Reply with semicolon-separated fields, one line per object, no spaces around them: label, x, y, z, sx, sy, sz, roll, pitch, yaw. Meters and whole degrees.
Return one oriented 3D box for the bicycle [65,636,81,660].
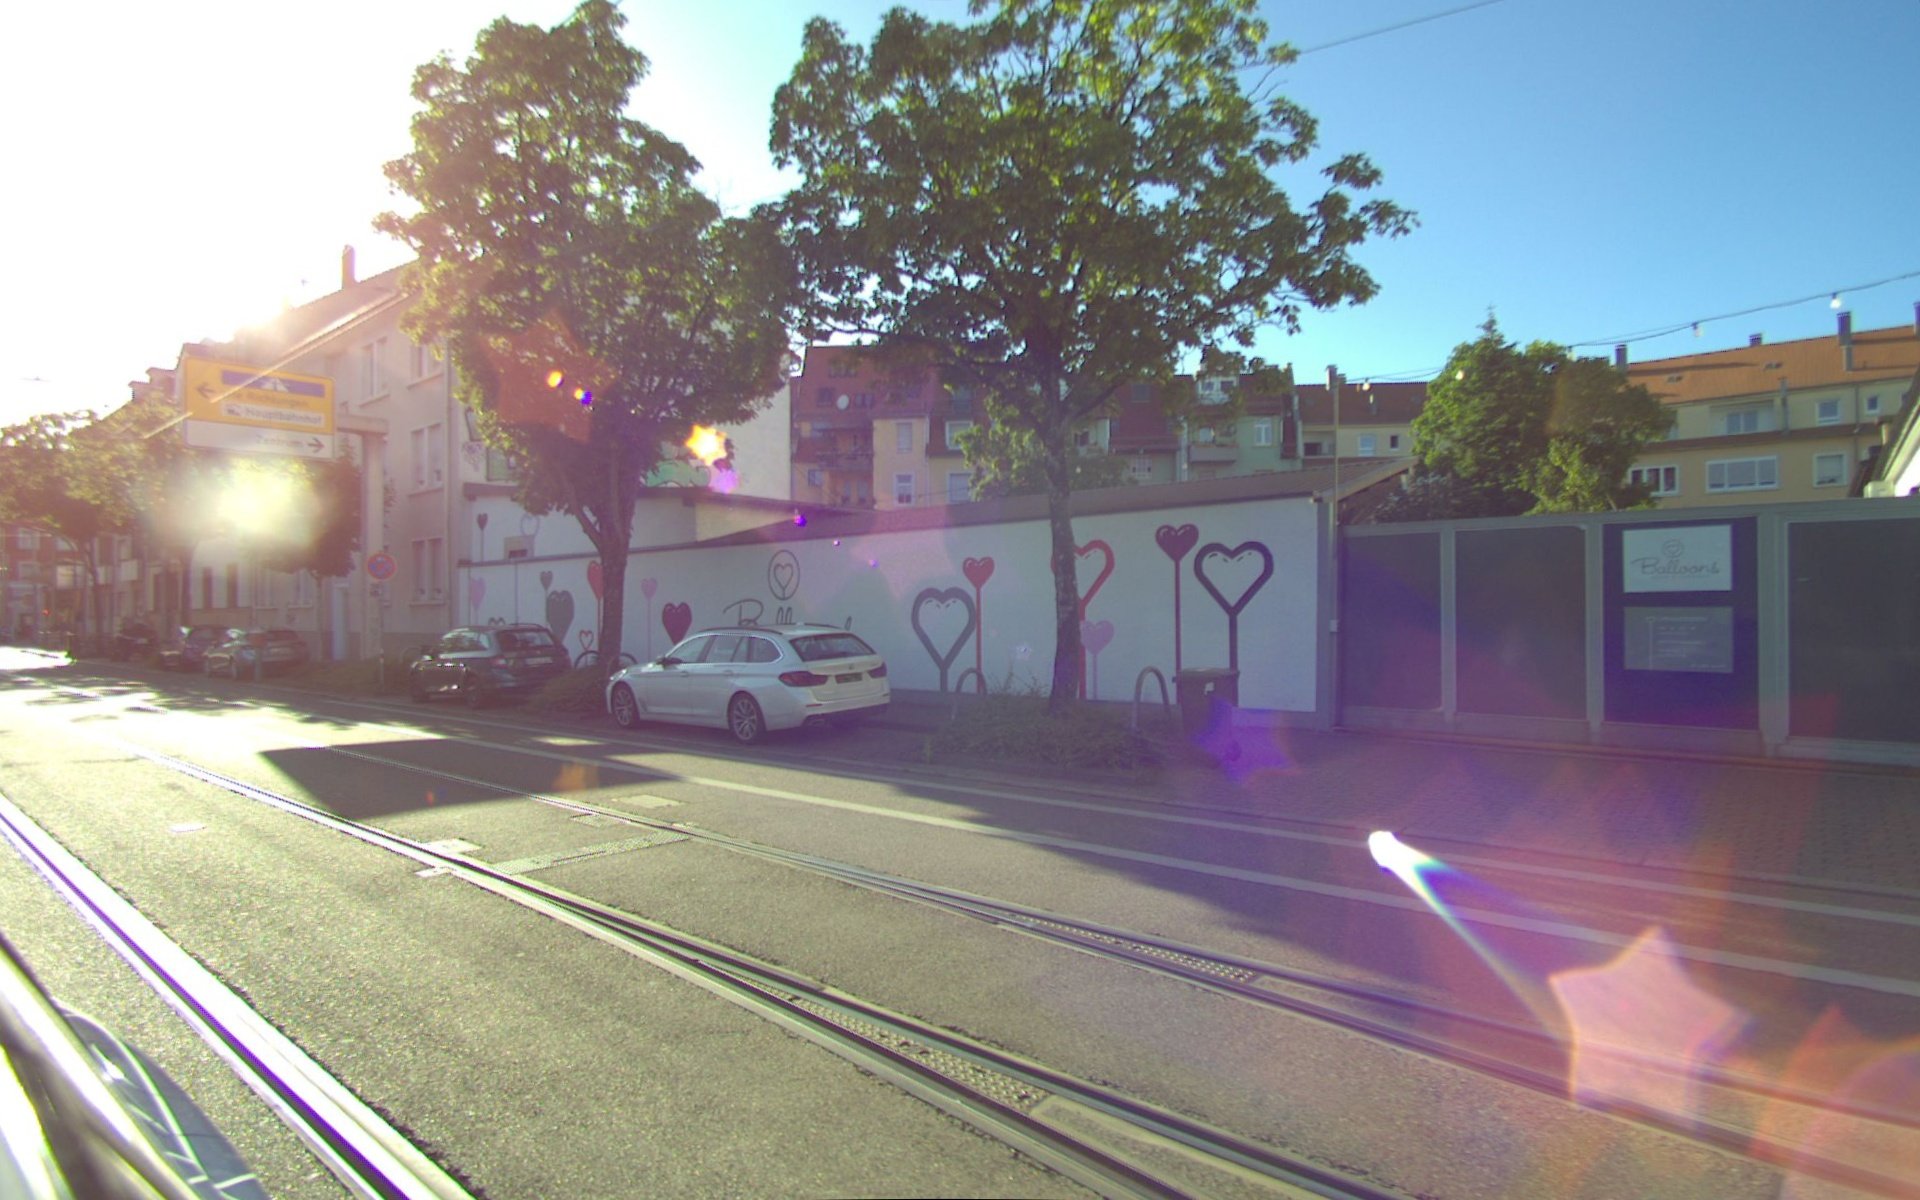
bicycle;-40.328;2.156;46.003;1.661;1.050;0.300;-1;0;41

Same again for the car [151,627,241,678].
car;-24.946;1.662;32.995;3.998;1.516;1.556;-1;0;41

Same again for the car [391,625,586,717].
car;-9.035;1.249;19.233;4.302;1.497;1.754;-1;0;41

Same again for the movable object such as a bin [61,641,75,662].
movable object such as a bin;-41.340;2.384;46.902;0.582;0.942;0.420;-1;0;41

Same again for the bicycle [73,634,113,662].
bicycle;-39.009;2.153;45.537;0.409;1.178;1.327;-1;0;41

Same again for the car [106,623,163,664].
car;-33.152;1.759;40.612;2.545;1.514;1.341;-5;-3;41

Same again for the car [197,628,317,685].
car;-20.323;1.561;29.178;4.290;1.439;1.854;-1;0;41

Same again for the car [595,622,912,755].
car;-2.995;1.078;14.046;4.658;1.502;1.845;-1;0;41

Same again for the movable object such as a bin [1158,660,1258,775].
movable object such as a bin;2.371;1.098;9.673;0.702;0.966;0.576;-1;4;41
